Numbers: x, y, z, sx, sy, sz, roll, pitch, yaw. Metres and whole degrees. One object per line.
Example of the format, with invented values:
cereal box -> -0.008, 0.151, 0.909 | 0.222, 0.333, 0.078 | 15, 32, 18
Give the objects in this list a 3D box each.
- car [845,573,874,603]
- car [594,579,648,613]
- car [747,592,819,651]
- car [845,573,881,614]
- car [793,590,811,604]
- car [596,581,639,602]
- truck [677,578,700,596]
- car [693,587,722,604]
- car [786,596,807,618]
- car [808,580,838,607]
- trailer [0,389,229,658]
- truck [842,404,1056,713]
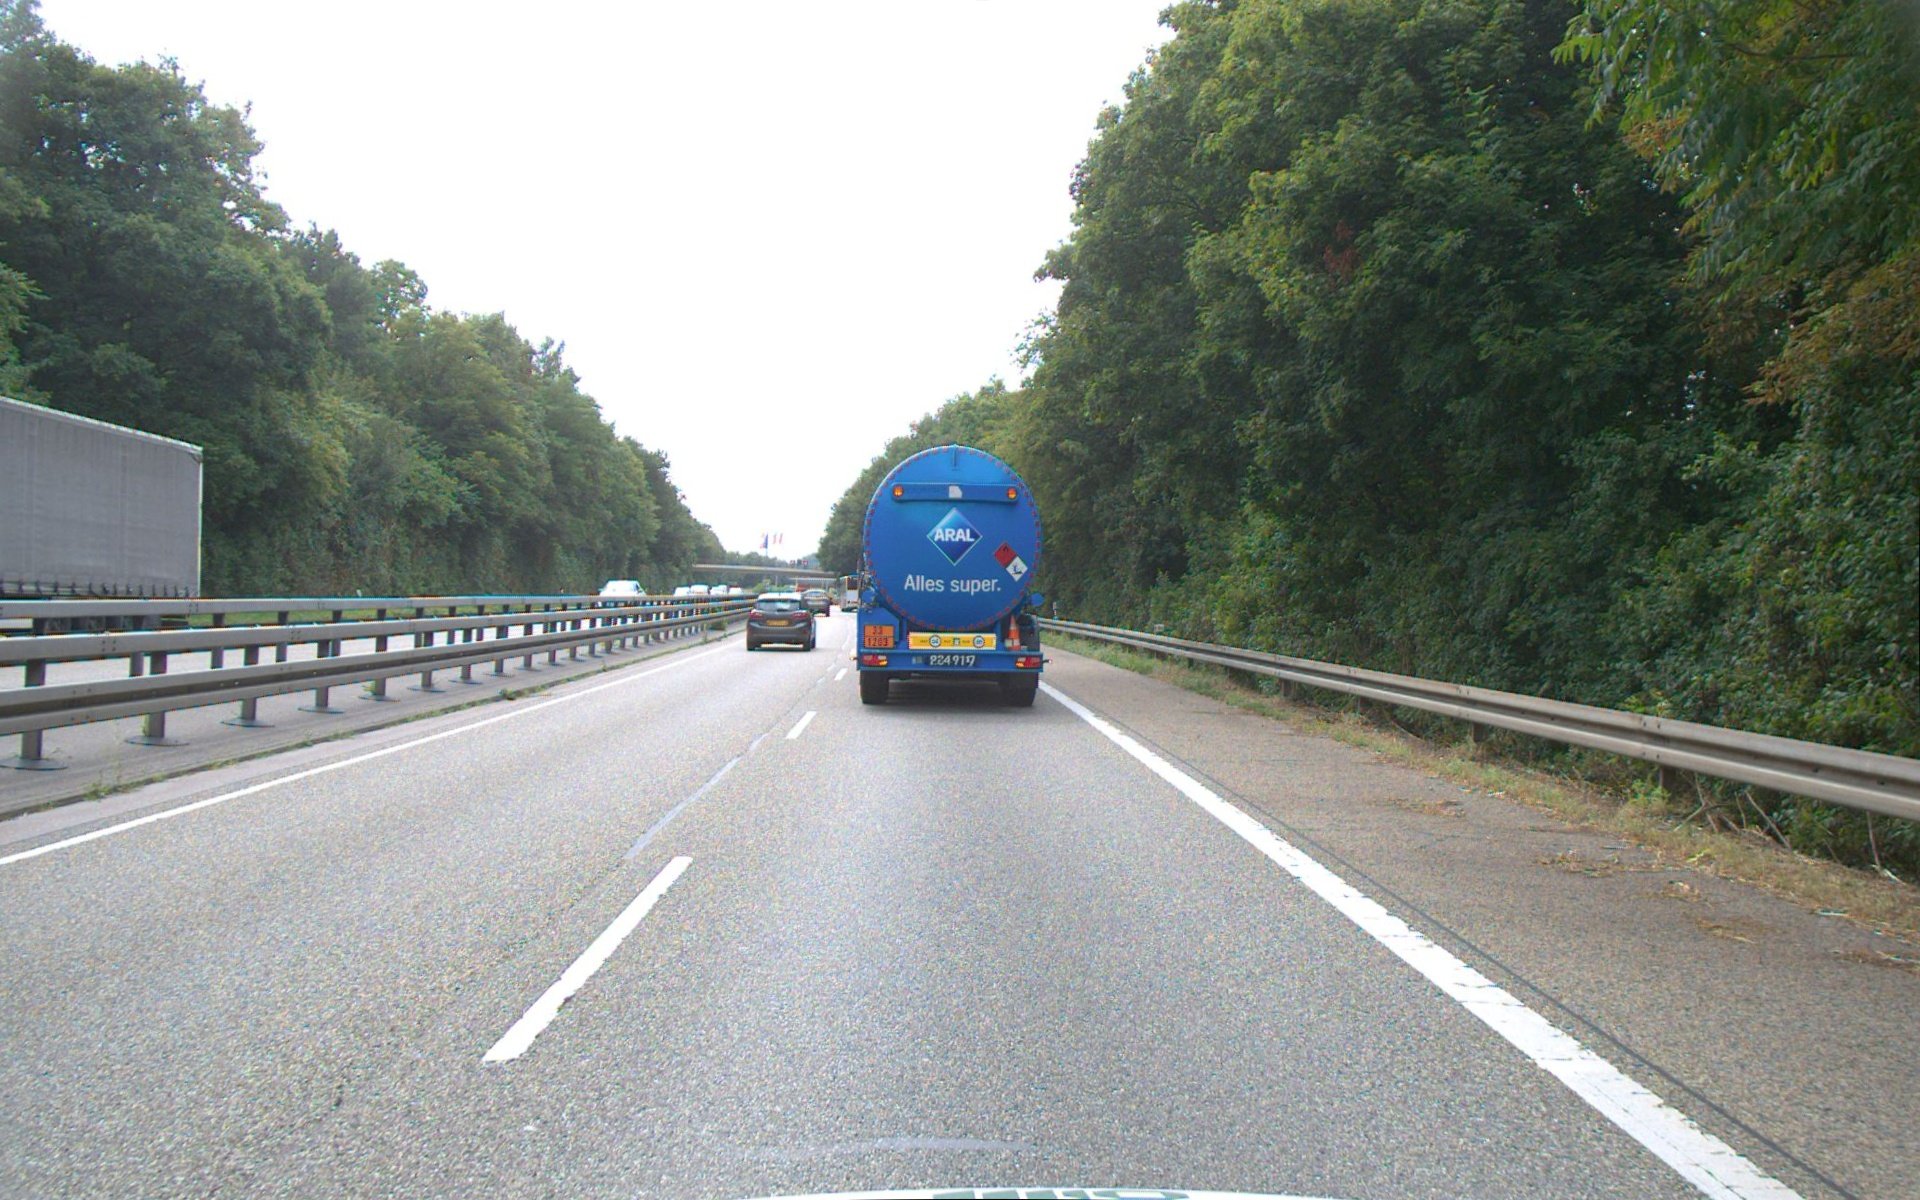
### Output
car -> -7.745, -0.929, 127.811 | 1.952, 2.284, 4.000 | 0, 0, 1
car -> -14.667, -0.180, 71.725 | 1.610, 1.413, 4.289 | 0, 0, -2
car -> -4.680, 0.539, 44.307 | 1.790, 1.483, 4.635 | 0, 0, -5
car -> -5.487, -0.354, 94.207 | 1.953, 2.260, 3.998 | 0, 0, -2
car -> -18.635, -0.369, 195.401 | 1.916, 1.595, 3.998 | 0, 0, -3
car -> -19.756, -0.485, 95.555 | 1.707, 1.210, 4.289 | 0, 0, -2
truck -> -26.594, -1.286, 162.154 | 1.955, 1.769, 3.996 | 0, 0, -5
car -> -18.373, -0.341, 120.490 | 1.707, 1.210, 4.287 | 0, 0, -4
car -> -15.433, 0.621, 156.157 | 1.955, 2.049, 3.995 | 0, 0, -6
car -> -8.614, -0.403, 103.902 | 1.791, 1.637, 4.162 | 0, 0, -6
trailer -> -16.098, -1.188, 27.458 | 2.610, 4.116, 12.867 | 0, 0, -2
truck -> -0.165, -0.561, 24.856 | 2.699, 3.914, 7.688 | 0, 0, 0
